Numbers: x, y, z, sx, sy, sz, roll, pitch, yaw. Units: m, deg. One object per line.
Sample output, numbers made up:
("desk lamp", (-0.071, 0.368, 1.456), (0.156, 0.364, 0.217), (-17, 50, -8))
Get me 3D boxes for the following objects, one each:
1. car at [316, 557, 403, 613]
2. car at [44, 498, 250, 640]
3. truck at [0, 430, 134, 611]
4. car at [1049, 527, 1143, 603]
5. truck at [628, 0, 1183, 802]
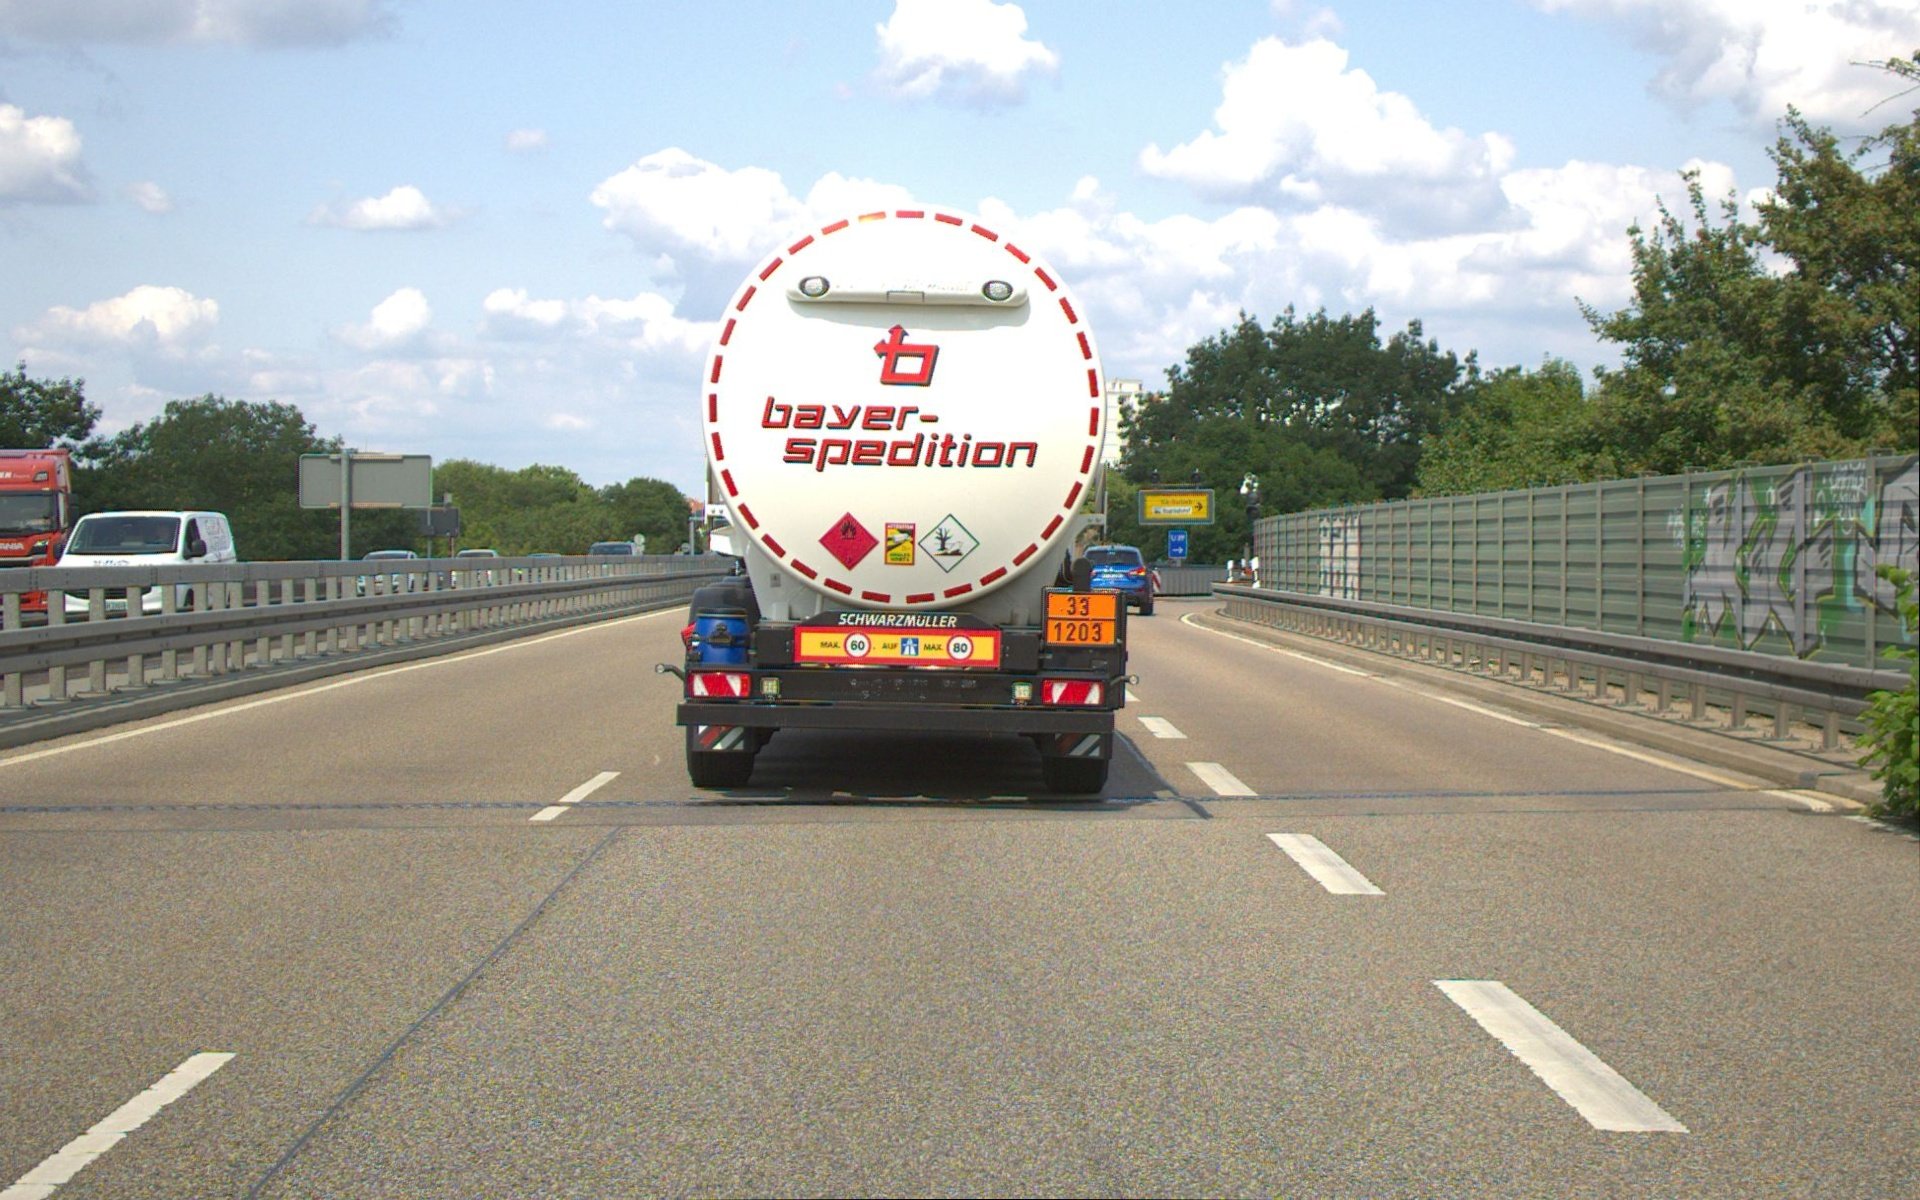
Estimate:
("car", (-16.989, -0.441, 97.374), (1.783, 1.503, 3.960), (1, 1, -1))
("car", (-12.190, -0.483, 51.860), (2.079, 1.982, 5.230), (1, 1, -3))
("truck", (-20.075, -1.719, 75.231), (2.648, 3.769, 6.233), (1, 1, -2))
("car", (3.191, -0.833, 81.432), (1.993, 1.700, 4.000), (1, 1, -1))
("truck", (-0.341, -1.166, 22.589), (2.895, 4.354, 8.030), (1, 1, -1))
